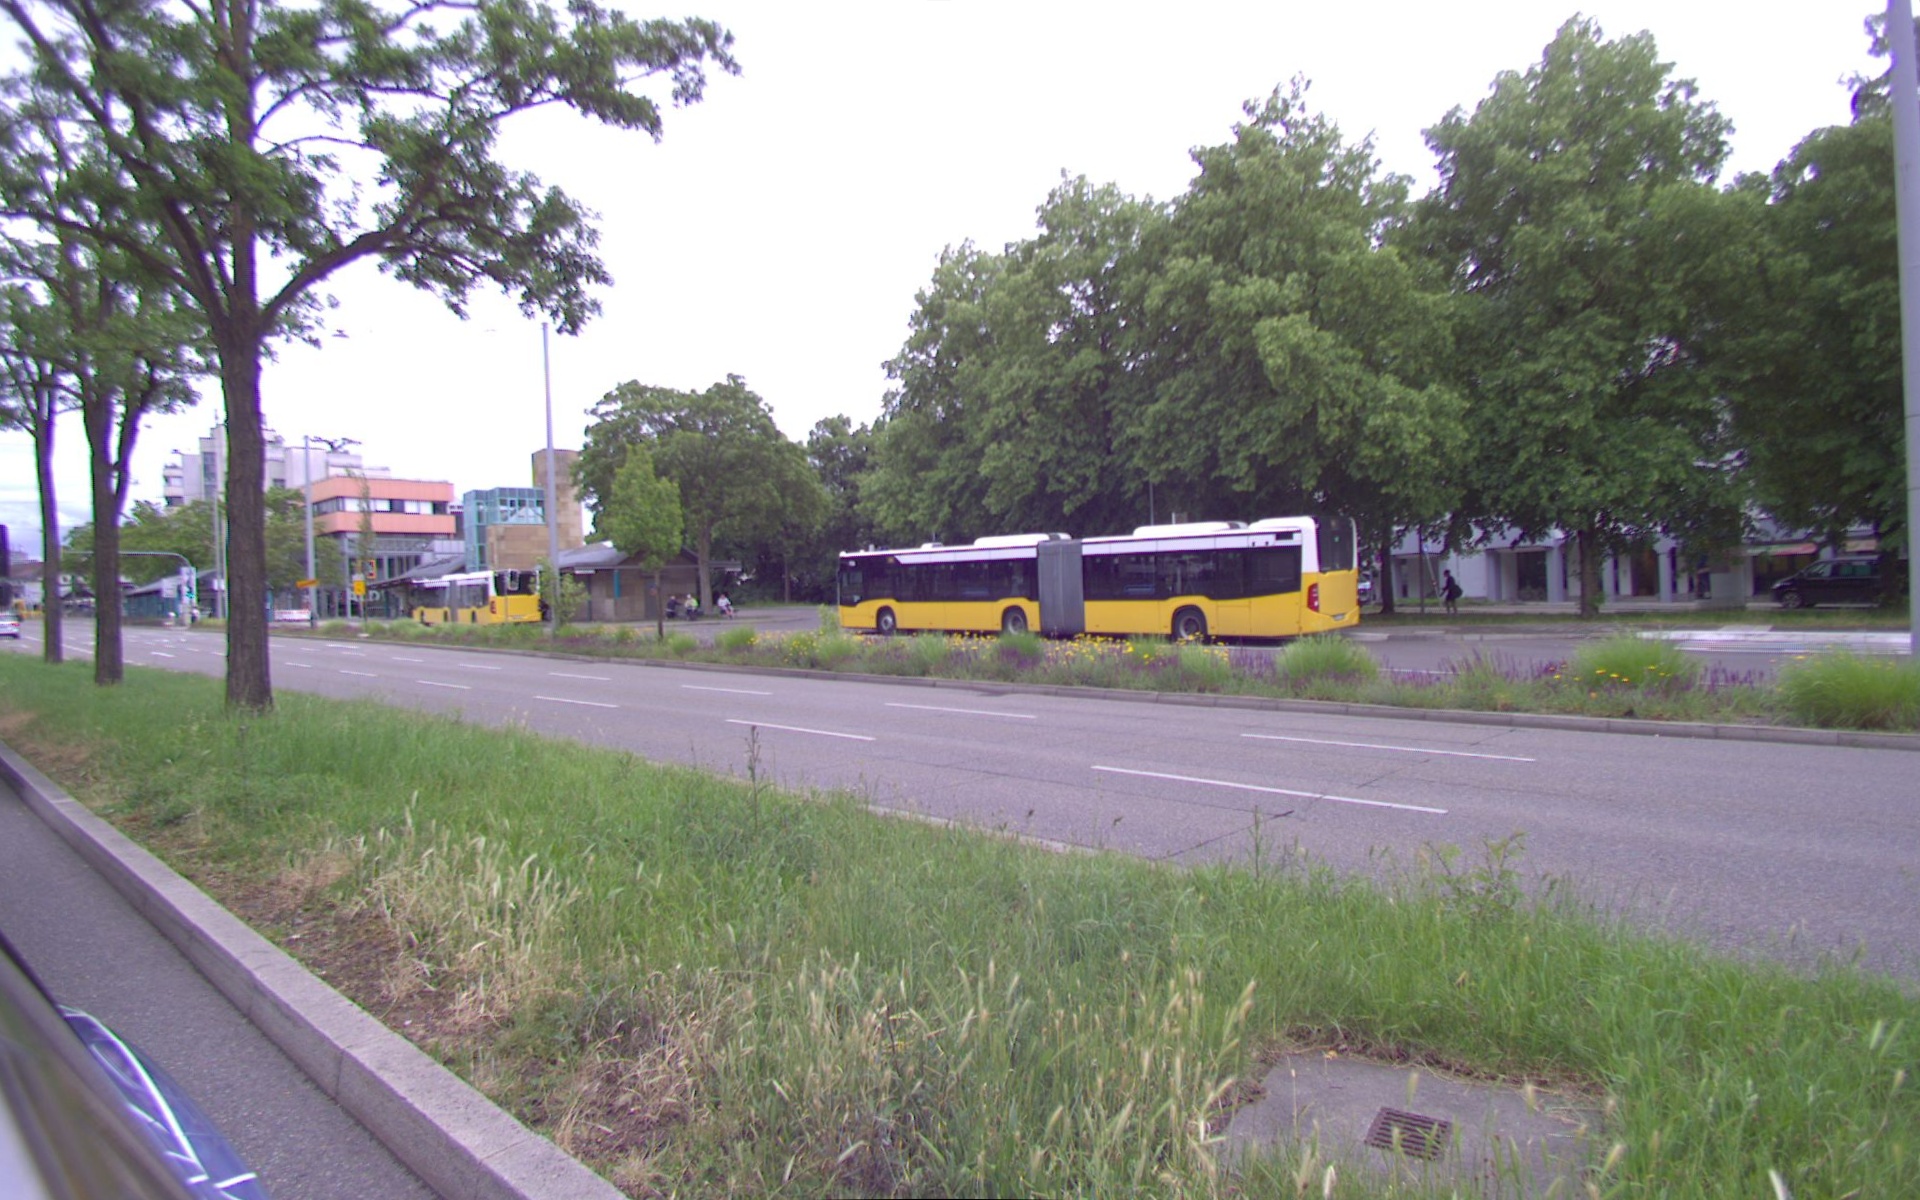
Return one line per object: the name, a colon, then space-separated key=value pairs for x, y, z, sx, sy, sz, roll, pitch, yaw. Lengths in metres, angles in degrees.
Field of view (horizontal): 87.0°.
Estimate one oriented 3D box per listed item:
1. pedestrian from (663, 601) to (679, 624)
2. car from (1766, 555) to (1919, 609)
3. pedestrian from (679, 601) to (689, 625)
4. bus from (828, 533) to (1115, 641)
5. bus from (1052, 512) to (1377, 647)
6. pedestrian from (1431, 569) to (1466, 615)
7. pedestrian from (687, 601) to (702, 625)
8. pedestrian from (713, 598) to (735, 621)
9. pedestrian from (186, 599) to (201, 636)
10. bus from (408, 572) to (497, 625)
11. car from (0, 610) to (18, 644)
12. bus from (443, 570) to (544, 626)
pedestrian: x=-14.860 y=0.653 z=52.011 sx=0.590 sy=1.171 sz=0.744 roll=-1 pitch=0 yaw=-36
car: x=33.132 y=-0.629 z=37.790 sx=1.758 sy=1.861 sz=4.429 roll=-1 pitch=0 yaw=-35
pedestrian: x=-13.735 y=0.639 z=50.397 sx=0.361 sy=1.175 sz=0.900 roll=-1 pitch=0 yaw=-23
bus: x=-0.007 y=-0.302 z=33.075 sx=2.848 sy=3.025 sz=10.401 roll=-1 pitch=0 yaw=-44
bus: x=6.350 y=-0.419 z=26.449 sx=2.849 sy=3.025 sz=7.889 roll=-1 pitch=0 yaw=-44
pedestrian: x=16.895 y=-0.269 z=35.015 sx=0.904 sy=1.569 sz=0.761 roll=-2 pitch=0 yaw=41
pedestrian: x=-13.235 y=0.632 z=50.469 sx=0.589 sy=1.171 sz=0.745 roll=-1 pitch=0 yaw=-23
pedestrian: x=-11.916 y=0.478 z=51.111 sx=0.924 sy=1.180 sz=0.641 roll=-1 pitch=0 yaw=41
pedestrian: x=-58.441 y=1.327 z=77.145 sx=0.889 sy=2.809 sz=1.150 roll=-1 pitch=0 yaw=-36
bus: x=-31.258 y=-0.023 z=62.086 sx=2.846 sy=3.025 sz=9.191 roll=-1 pitch=0 yaw=-40
car: x=-59.984 y=1.674 z=63.021 sx=4.000 sy=2.029 sz=1.703 roll=-1 pitch=0 yaw=43
bus: x=-25.574 y=-0.057 z=55.170 sx=2.845 sy=2.830 sz=9.193 roll=-1 pitch=0 yaw=-39
